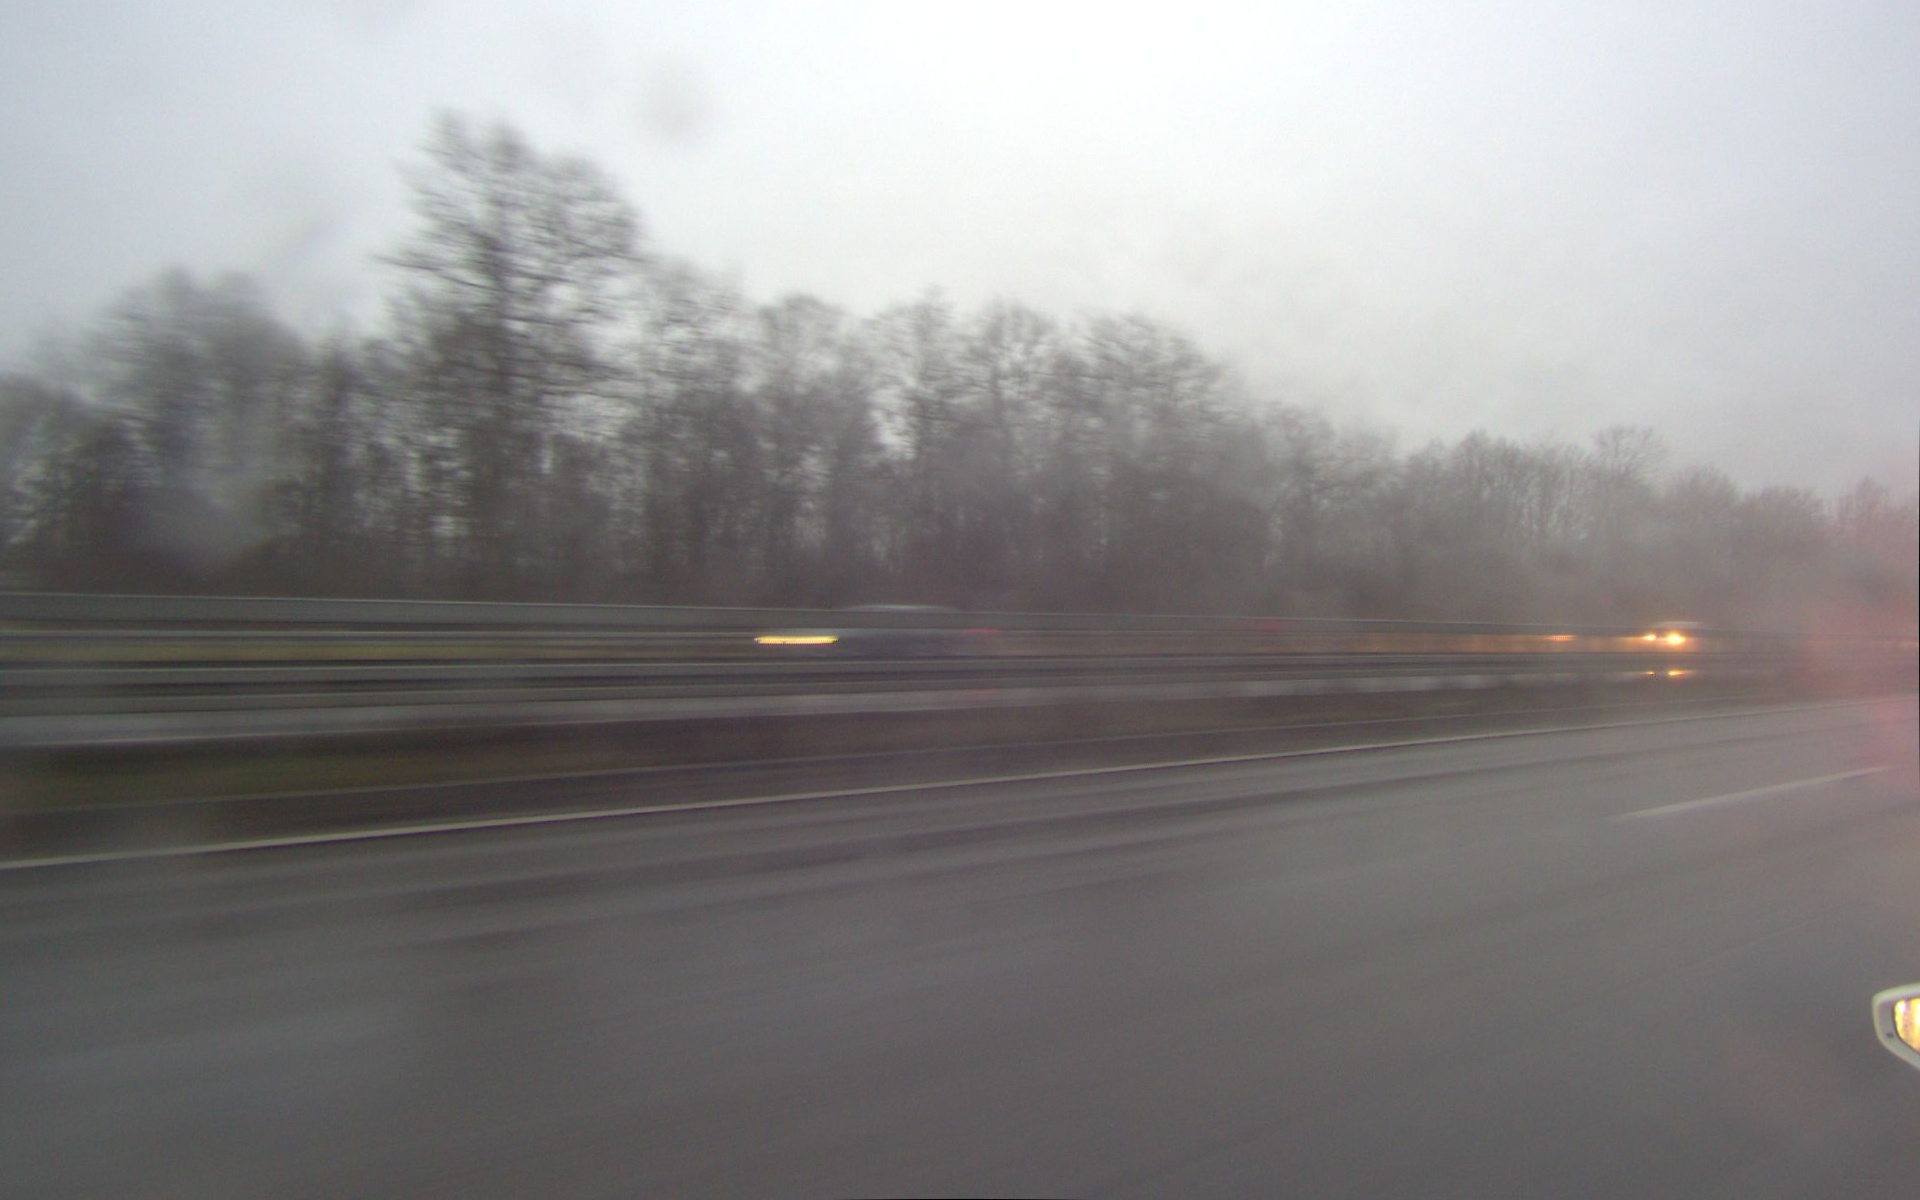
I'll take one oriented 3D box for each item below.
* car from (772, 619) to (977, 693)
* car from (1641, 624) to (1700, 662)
[{"bbox_3d":[-1.961,1.275,23.129,4.364,1.507,1.740,2,2,-22],"label":"car"},{"bbox_3d":[31.132,1.852,43.954,1.723,1.507,3.980,2,1,41],"label":"car"}]
